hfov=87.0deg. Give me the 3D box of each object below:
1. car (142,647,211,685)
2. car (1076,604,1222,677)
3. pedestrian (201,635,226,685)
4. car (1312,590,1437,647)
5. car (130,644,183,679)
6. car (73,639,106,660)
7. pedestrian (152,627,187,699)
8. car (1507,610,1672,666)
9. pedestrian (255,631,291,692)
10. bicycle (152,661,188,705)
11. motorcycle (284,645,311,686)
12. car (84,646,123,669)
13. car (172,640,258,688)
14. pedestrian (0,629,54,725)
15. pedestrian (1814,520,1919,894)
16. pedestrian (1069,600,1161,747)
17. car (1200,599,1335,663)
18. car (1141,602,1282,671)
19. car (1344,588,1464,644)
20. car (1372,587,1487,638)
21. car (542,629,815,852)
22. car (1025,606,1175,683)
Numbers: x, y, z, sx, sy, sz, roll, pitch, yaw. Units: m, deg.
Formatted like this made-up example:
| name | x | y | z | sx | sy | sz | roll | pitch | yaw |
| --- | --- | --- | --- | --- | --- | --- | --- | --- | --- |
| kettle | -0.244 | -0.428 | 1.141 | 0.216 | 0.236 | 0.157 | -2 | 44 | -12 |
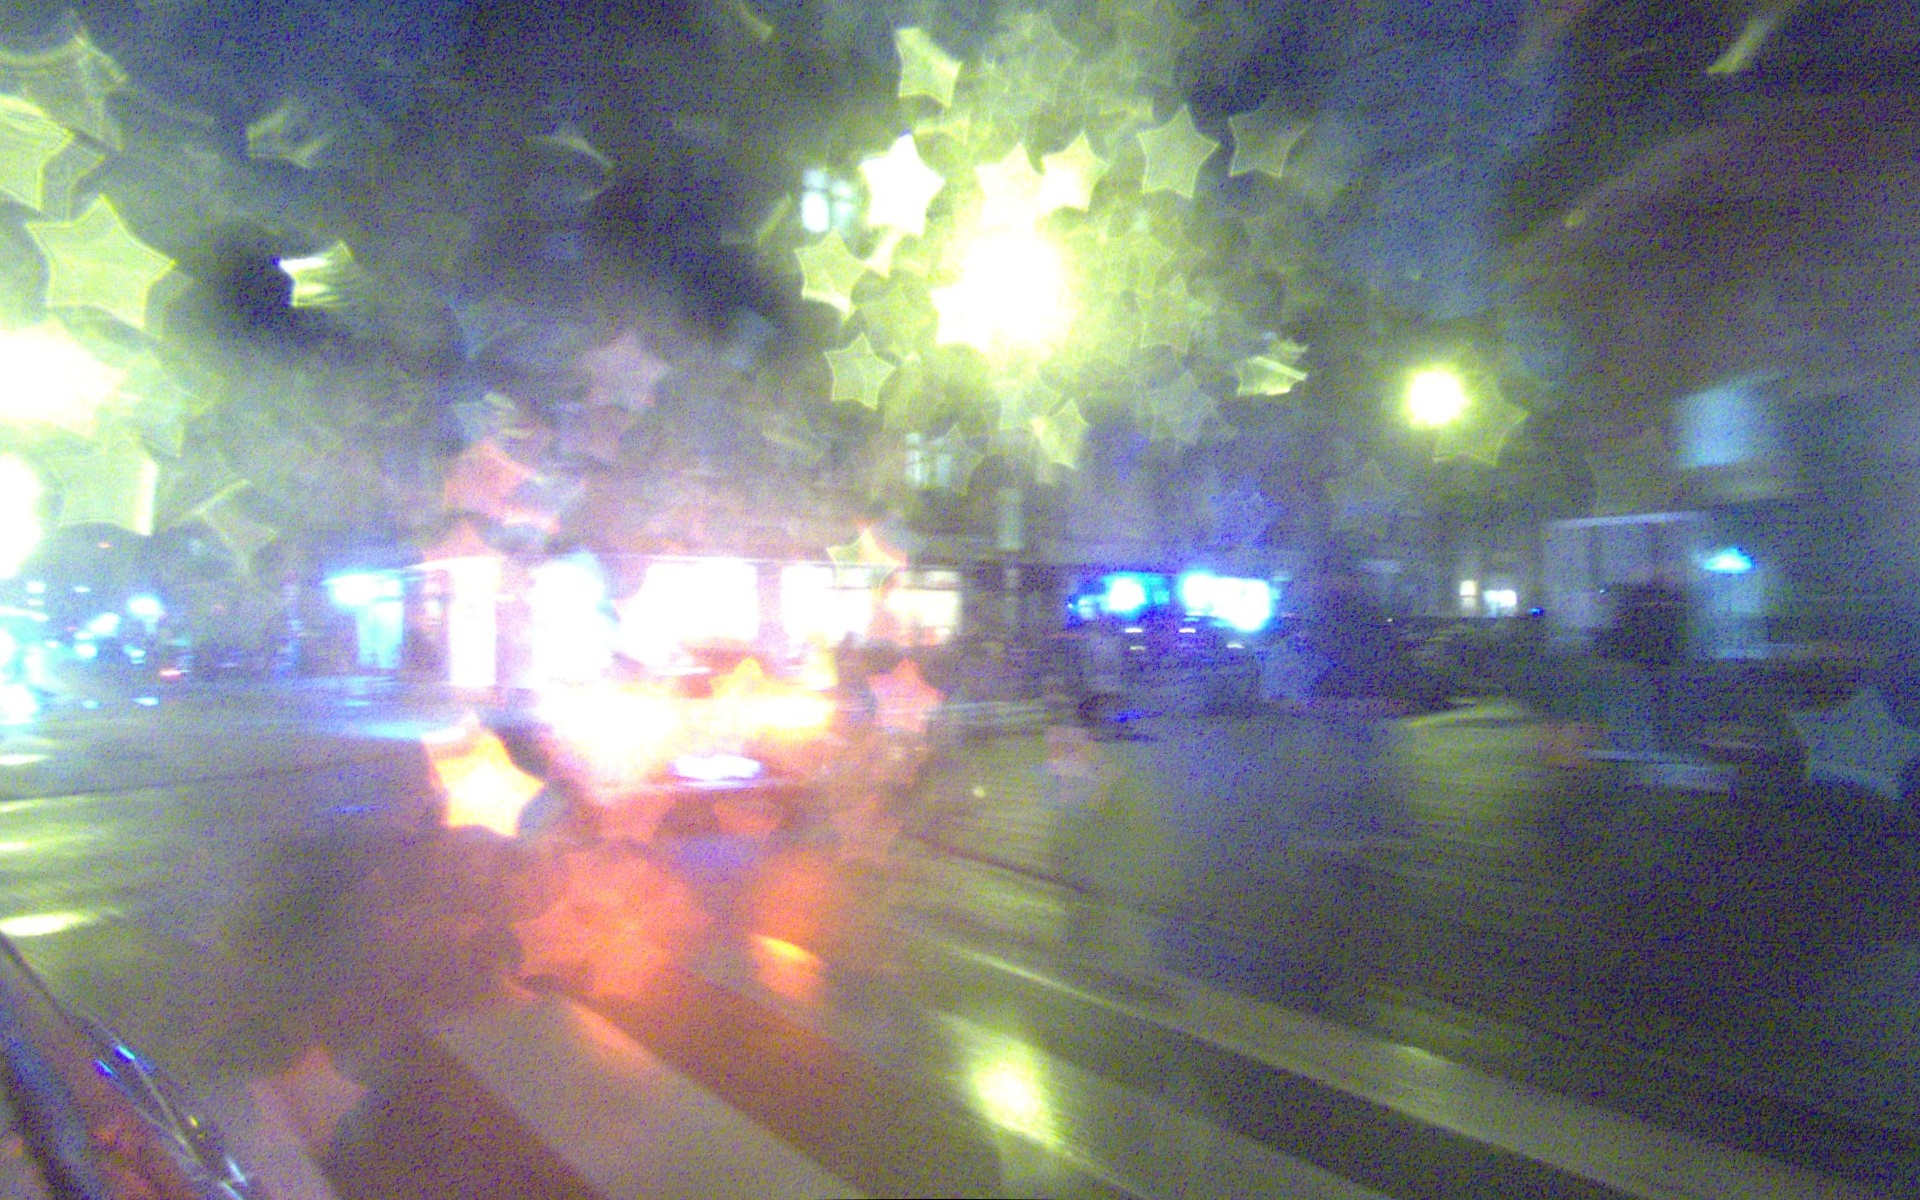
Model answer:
| name | x | y | z | sx | sy | sz | roll | pitch | yaw |
| --- | --- | --- | --- | --- | --- | --- | --- | --- | --- |
| car | -33.620 | 2.802 | 43.384 | 4.160 | 1.489 | 1.697 | -3 | -1 | 43 |
| car | 5.746 | 1.208 | 31.053 | 1.969 | 2.029 | 4.006 | -2 | 0 | -40 |
| pedestrian | -34.672 | 2.788 | 46.992 | 0.790 | 2.258 | 1.117 | 0 | -2 | -45 |
| car | 16.064 | 0.729 | 39.317 | 3.998 | 2.029 | 1.973 | -3 | 0 | 41 |
| car | -37.394 | 2.819 | 47.071 | 1.695 | 1.489 | 3.790 | -2 | -1 | -42 |
| car | -71.934 | 4.090 | 83.589 | 1.825 | 1.592 | 3.737 | -2 | -1 | -44 |
| pedestrian | -20.644 | 1.625 | 26.424 | 0.703 | 1.825 | 1.127 | 0 | -3 | -39 |
| car | 17.030 | 1.049 | 27.483 | 1.567 | 1.414 | 3.466 | 2 | -3 | -41 |
| pedestrian | -20.591 | 1.832 | 30.341 | 0.815 | 1.784 | 0.602 | -2 | -1 | -32 |
| bicycle | -20.585 | 2.135 | 26.353 | 0.703 | 1.067 | 1.805 | 0 | -3 | -39 |
| motorcycle | -25.174 | 2.465 | 38.446 | 0.530 | 1.482 | 1.459 | -2 | -1 | -44 |
| car | -60.159 | 4.036 | 71.032 | 1.825 | 1.489 | 3.737 | -2 | -1 | -44 |
| car | -26.189 | 2.205 | 35.518 | 1.825 | 1.489 | 5.035 | -1 | -1 | -44 |
| pedestrian | -19.342 | 1.561 | 20.828 | 0.944 | 1.877 | 1.416 | 0 | -2 | -45 |
| pedestrian | 4.960 | 0.495 | 4.942 | 0.793 | 1.779 | 1.018 | -2 | 0 | -38 |
| pedestrian | 2.054 | 0.963 | 13.496 | 0.785 | 1.872 | 0.949 | 2 | -3 | -31 |
| car | 10.637 | 1.044 | 35.185 | 1.969 | 2.029 | 4.006 | -2 | 0 | -40 |
| car | 8.092 | 1.162 | 32.810 | 1.969 | 2.029 | 4.006 | -2 | 0 | -40 |
| car | 17.994 | 0.669 | 41.093 | 3.998 | 2.028 | 1.973 | -3 | 0 | 41 |
| car | 19.910 | 0.559 | 42.958 | 3.998 | 2.029 | 1.973 | -2 | 0 | 41 |
| car | -2.635 | 1.002 | 8.749 | 1.541 | 1.438 | 4.082 | 1 | -3 | -26 |
| car | 4.031 | 1.247 | 29.617 | 1.969 | 2.029 | 4.006 | -2 | 0 | -40 |
